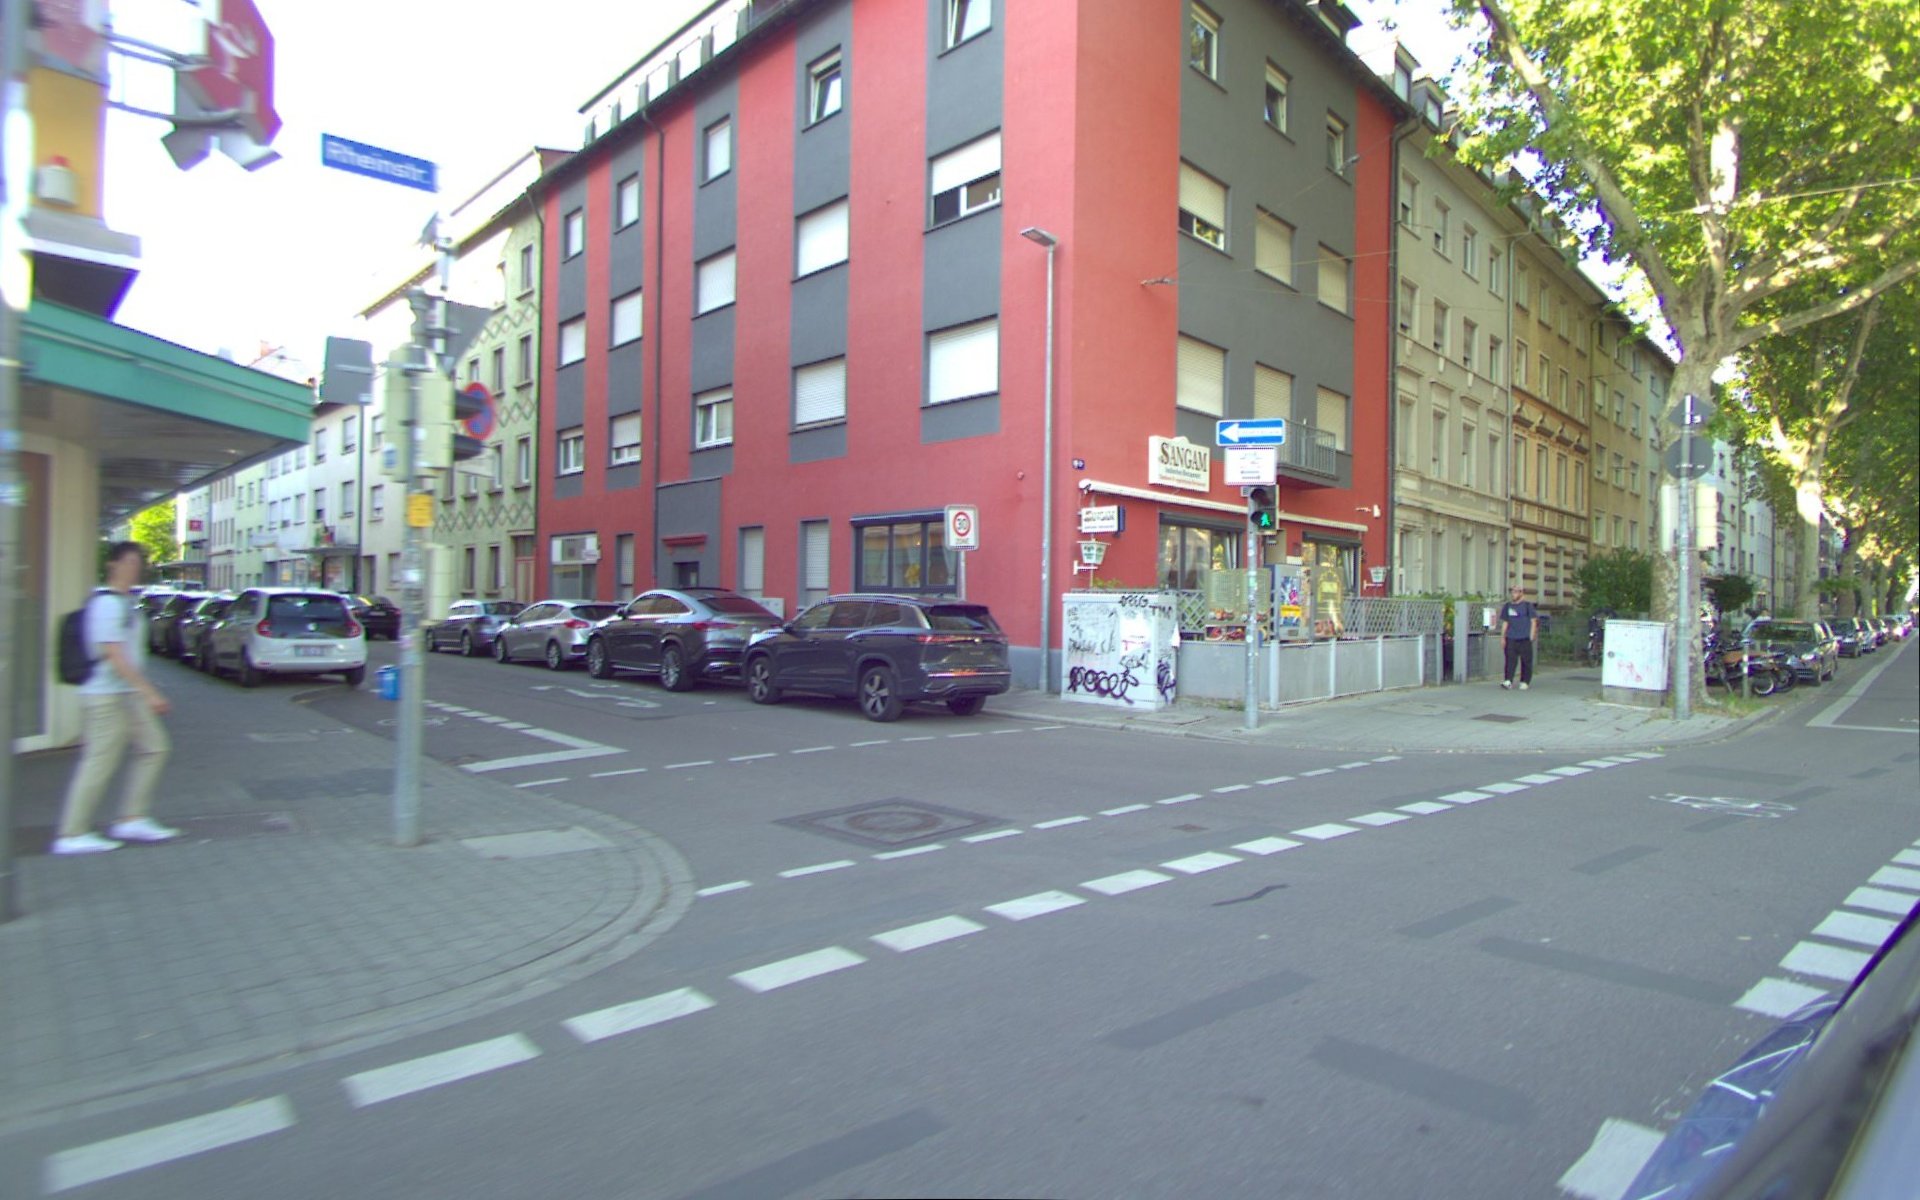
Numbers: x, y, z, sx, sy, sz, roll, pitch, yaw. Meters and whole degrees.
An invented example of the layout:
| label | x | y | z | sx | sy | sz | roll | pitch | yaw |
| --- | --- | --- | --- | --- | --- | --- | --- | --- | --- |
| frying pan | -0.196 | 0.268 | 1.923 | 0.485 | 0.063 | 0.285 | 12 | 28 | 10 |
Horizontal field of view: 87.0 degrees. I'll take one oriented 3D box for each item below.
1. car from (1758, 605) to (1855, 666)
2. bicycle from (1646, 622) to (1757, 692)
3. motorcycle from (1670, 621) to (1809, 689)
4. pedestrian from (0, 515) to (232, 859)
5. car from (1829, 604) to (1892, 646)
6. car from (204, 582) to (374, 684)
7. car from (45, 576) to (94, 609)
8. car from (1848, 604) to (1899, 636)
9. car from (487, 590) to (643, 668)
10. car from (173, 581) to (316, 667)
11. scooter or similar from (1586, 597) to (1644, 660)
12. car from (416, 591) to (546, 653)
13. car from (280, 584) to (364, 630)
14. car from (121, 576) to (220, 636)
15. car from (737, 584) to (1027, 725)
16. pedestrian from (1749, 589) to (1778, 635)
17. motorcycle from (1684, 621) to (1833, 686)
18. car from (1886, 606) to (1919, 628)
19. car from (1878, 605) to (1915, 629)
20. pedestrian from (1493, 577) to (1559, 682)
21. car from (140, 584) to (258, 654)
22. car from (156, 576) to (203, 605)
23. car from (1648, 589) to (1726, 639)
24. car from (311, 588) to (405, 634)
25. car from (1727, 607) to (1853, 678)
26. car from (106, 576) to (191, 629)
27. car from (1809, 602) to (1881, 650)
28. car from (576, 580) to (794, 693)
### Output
| label | x | y | z | sx | sy | sz | roll | pitch | yaw |
| --- | --- | --- | --- | --- | --- | --- | --- | --- | --- |
| car | 23.707 | 0.930 | 28.285 | 1.798 | 1.473 | 4.441 | 4 | 2 | 43 |
| bicycle | 12.997 | 1.003 | 17.741 | 1.762 | 1.125 | 0.622 | 3 | 0 | -18 |
| motorcycle | 14.373 | 1.001 | 18.700 | 1.856 | 1.125 | 0.785 | 3 | 0 | 3 |
| pedestrian | -4.924 | 0.476 | 5.902 | 0.744 | 1.803 | 0.880 | 0 | -4 | 45 |
| car | 39.213 | 1.034 | 44.039 | 1.799 | 1.628 | 4.300 | 4 | 2 | 44 |
| car | -11.108 | 0.466 | 16.686 | 1.743 | 1.503 | 3.312 | 1 | 0 | -45 |
| car | -47.199 | -0.417 | 53.617 | 1.742 | 1.644 | 3.768 | 3 | -1 | -43 |
| car | 48.356 | 1.047 | 53.541 | 1.799 | 1.521 | 4.300 | 4 | 2 | 44 |
| car | -8.622 | 0.563 | 21.953 | 3.801 | 1.504 | 1.744 | 1 | 0 | 44 |
| car | -13.951 | 0.421 | 19.653 | 1.742 | 1.503 | 3.768 | 3 | -1 | -43 |
| scooter or similar | 16.255 | 0.689 | 25.085 | 2.503 | 1.488 | 0.665 | 1 | 0 | -45 |
| car | -12.214 | 0.507 | 25.703 | 3.843 | 1.420 | 1.744 | 1 | 0 | 44 |
| car | -23.355 | 0.238 | 36.984 | 3.737 | 1.581 | 1.744 | 1 | 0 | 44 |
| car | -21.560 | 0.165 | 27.591 | 1.742 | 1.503 | 3.768 | 3 | -1 | -43 |
| car | -1.242 | 0.640 | 14.413 | 1.744 | 1.708 | 4.343 | 1 | 0 | -45 |
| pedestrian | 28.402 | 0.419 | 35.764 | 0.690 | 1.600 | 0.727 | 0 | 0 | -45 |
| motorcycle | 15.866 | 1.045 | 20.173 | 2.185 | 1.125 | 0.660 | 3 | 0 | 19 |
| car | 76.831 | 1.372 | 82.482 | 1.799 | 1.628 | 4.039 | 4 | 2 | 44 |
| car | 67.922 | 1.227 | 73.370 | 1.799 | 1.628 | 4.039 | 4 | 2 | 44 |
| pedestrian | 9.787 | 0.483 | 17.493 | 0.802 | 1.731 | 0.727 | 0 | 3 | -45 |
| car | -17.647 | 0.410 | 23.412 | 1.742 | 1.503 | 3.768 | 3 | -1 | -43 |
| car | -48.015 | -0.586 | 62.260 | 3.737 | 1.710 | 1.744 | 1 | 0 | 44 |
| car | 30.298 | 0.548 | 42.116 | 1.929 | 1.898 | 4.603 | 4 | 2 | 44 |
| car | -19.885 | 0.339 | 33.386 | 3.737 | 1.420 | 1.744 | 1 | 0 | 44 |
| car | 19.587 | 0.933 | 23.822 | 4.298 | 1.419 | 1.800 | 0 | 2 | -45 |
| car | -25.171 | 0.070 | 31.351 | 1.742 | 1.503 | 3.768 | 3 | -1 | -43 |
| car | 33.930 | 0.954 | 38.748 | 1.799 | 1.628 | 4.300 | 4 | 2 | 44 |
| car | -5.040 | 0.552 | 18.141 | 1.744 | 1.762 | 4.604 | 1 | 0 | -45 |
